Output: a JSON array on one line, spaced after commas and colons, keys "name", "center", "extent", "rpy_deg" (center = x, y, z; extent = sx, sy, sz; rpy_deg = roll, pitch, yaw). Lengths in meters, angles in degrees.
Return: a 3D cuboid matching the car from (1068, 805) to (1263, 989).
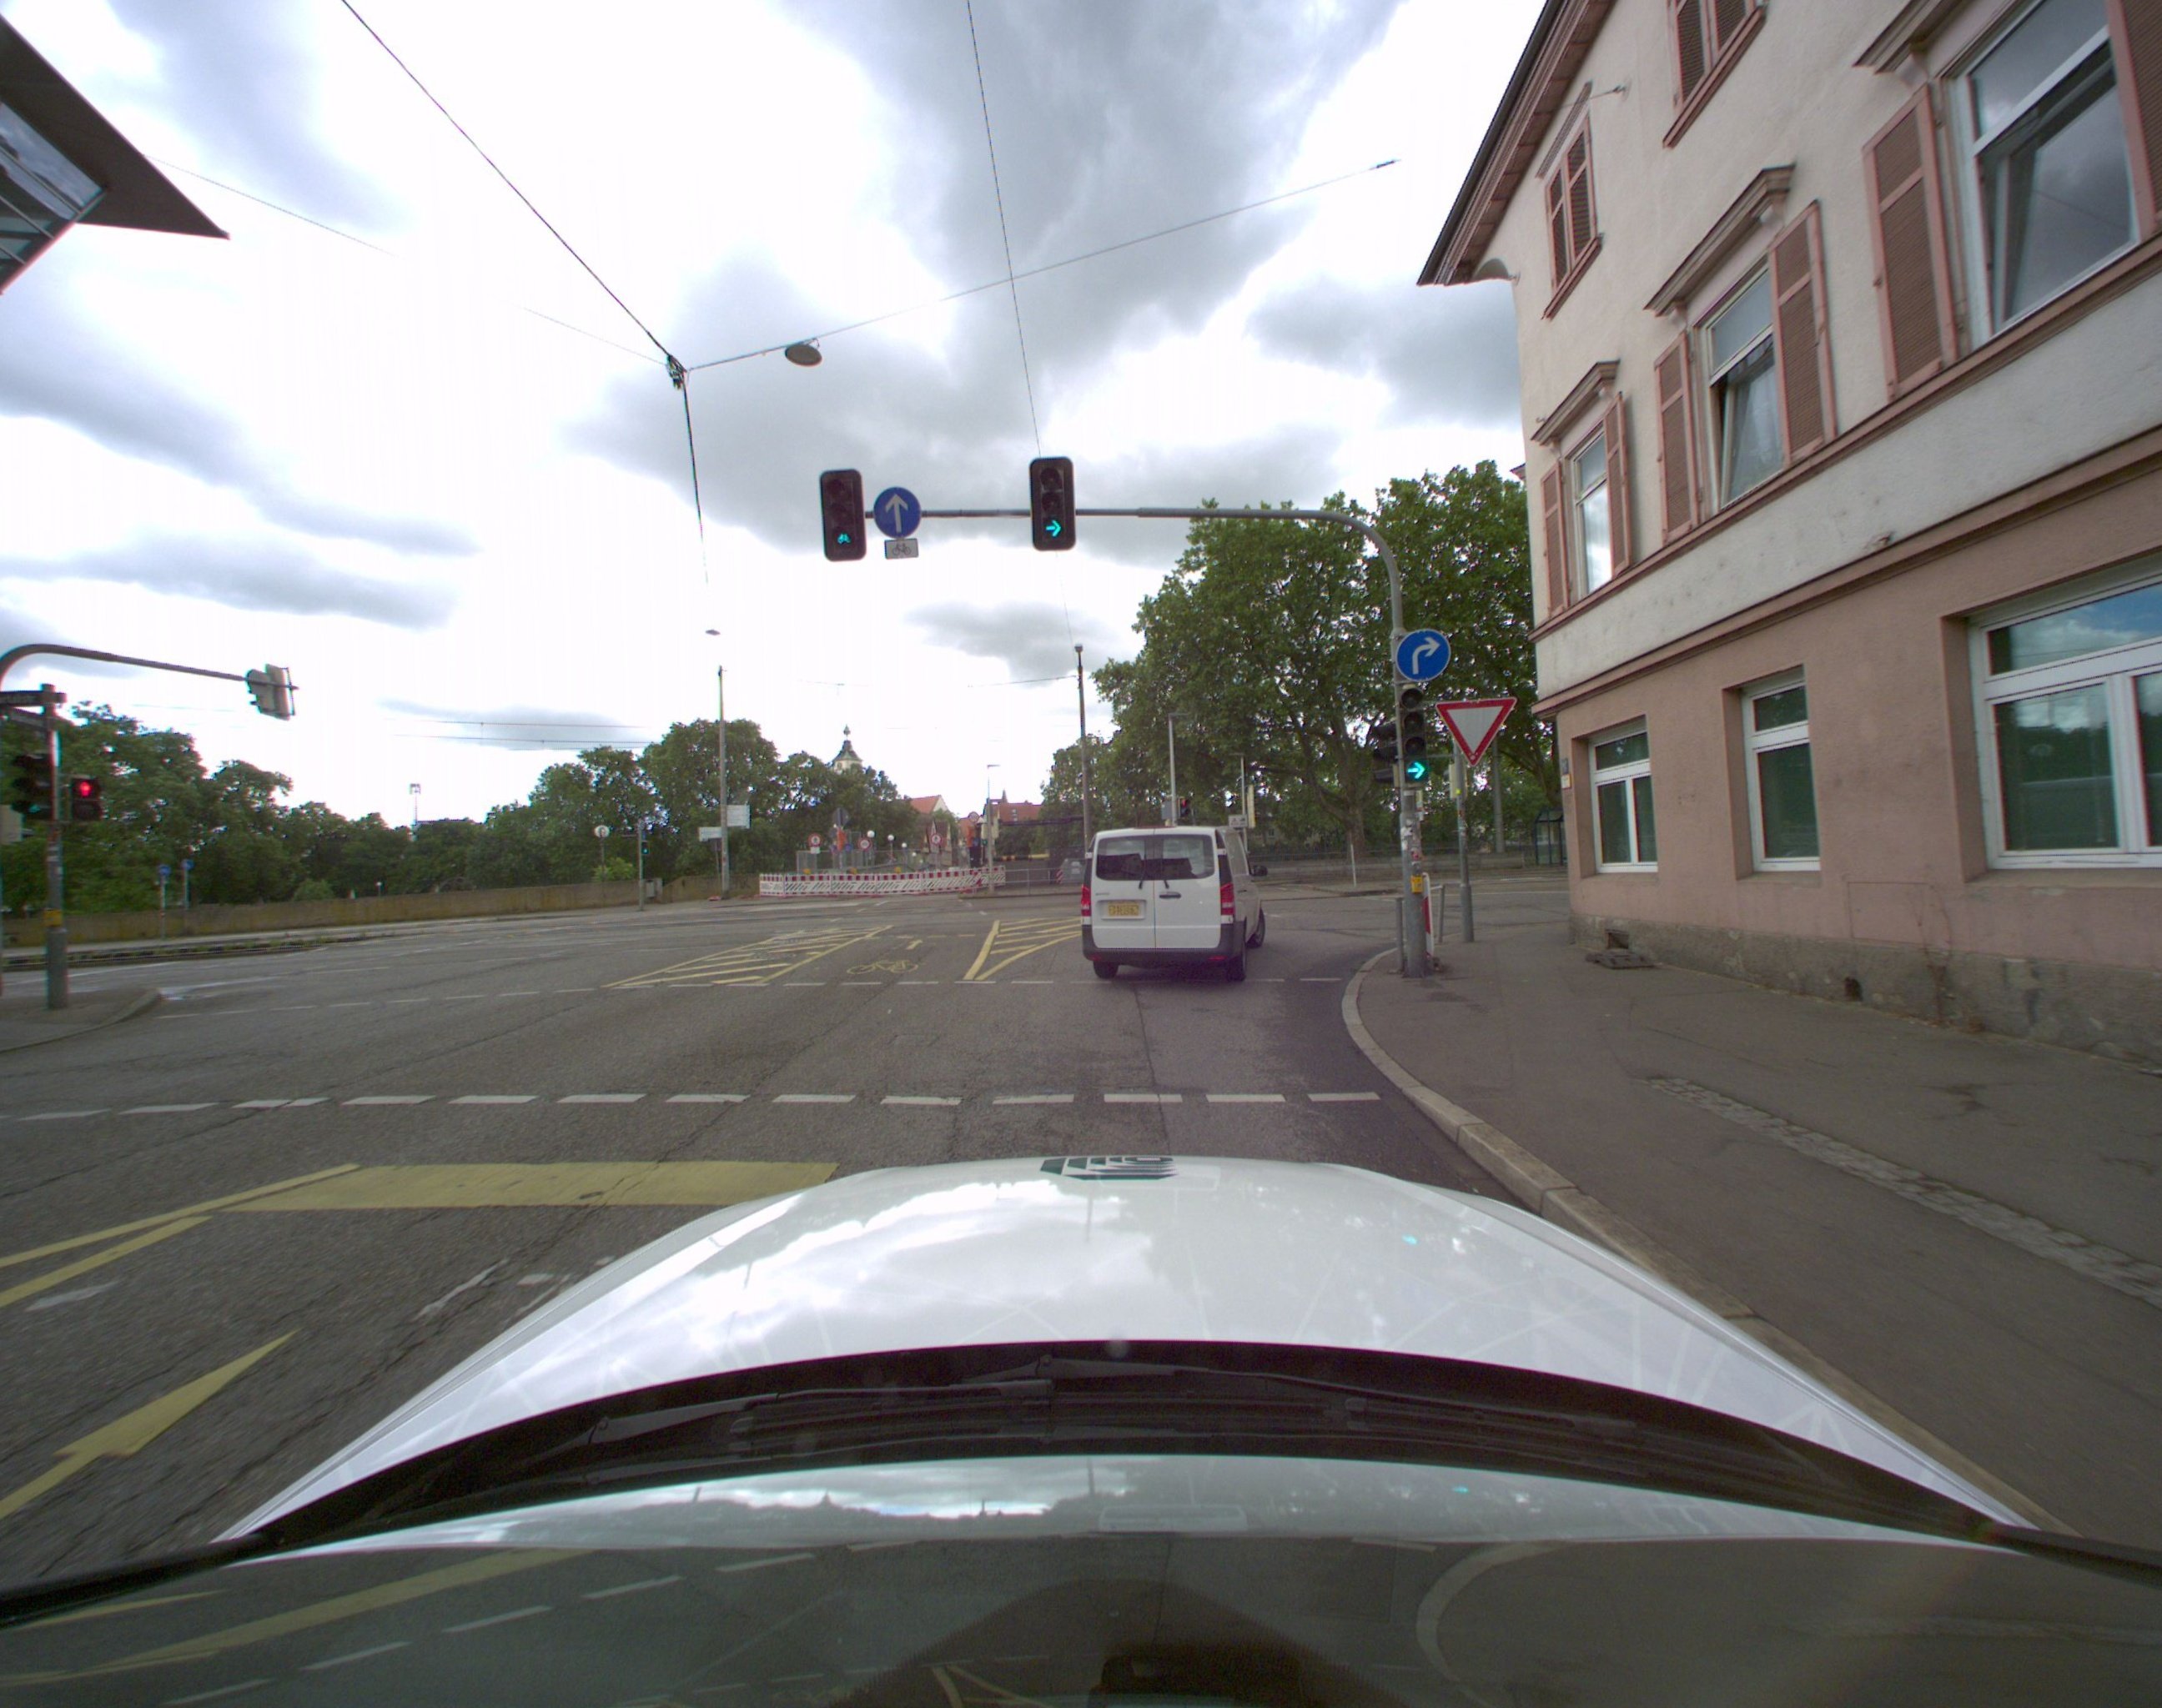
[{"name": "car", "center": [1.427, 0.475, 11.422], "extent": [1.936, 2.013, 4.717], "rpy_deg": [-1, 0, 15]}]
